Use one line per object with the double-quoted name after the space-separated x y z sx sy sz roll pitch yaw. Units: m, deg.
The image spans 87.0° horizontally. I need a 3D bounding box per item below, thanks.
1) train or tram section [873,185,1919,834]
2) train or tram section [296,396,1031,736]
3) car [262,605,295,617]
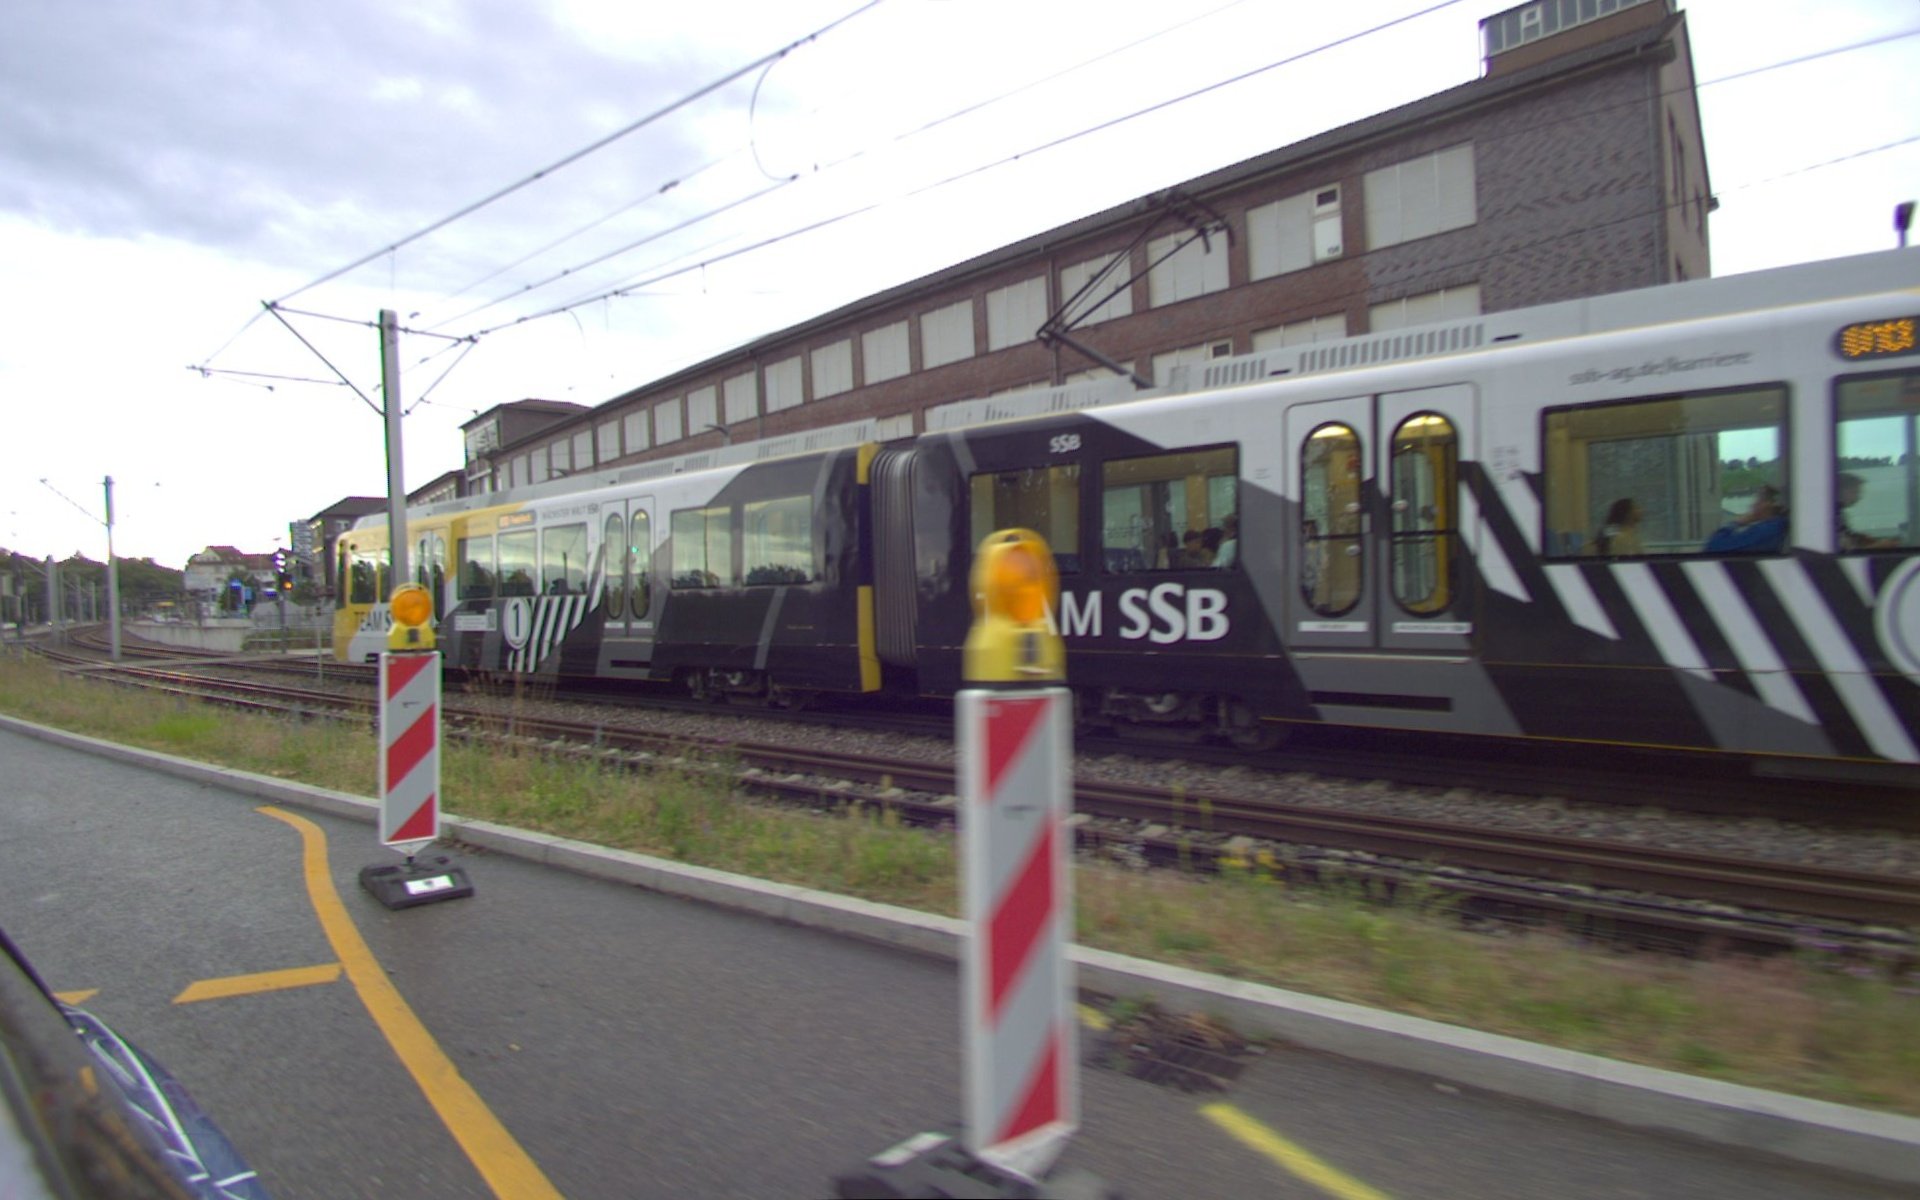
7.427 -0.601 6.661 19.270 3.915 2.926 -1 1 39 "train or tram section"
-7.471 -0.311 19.082 19.557 3.915 2.926 -1 1 40 "train or tram section"
-117.693 1.893 174.719 4.508 1.773 2.003 -2 0 -40 "car"
